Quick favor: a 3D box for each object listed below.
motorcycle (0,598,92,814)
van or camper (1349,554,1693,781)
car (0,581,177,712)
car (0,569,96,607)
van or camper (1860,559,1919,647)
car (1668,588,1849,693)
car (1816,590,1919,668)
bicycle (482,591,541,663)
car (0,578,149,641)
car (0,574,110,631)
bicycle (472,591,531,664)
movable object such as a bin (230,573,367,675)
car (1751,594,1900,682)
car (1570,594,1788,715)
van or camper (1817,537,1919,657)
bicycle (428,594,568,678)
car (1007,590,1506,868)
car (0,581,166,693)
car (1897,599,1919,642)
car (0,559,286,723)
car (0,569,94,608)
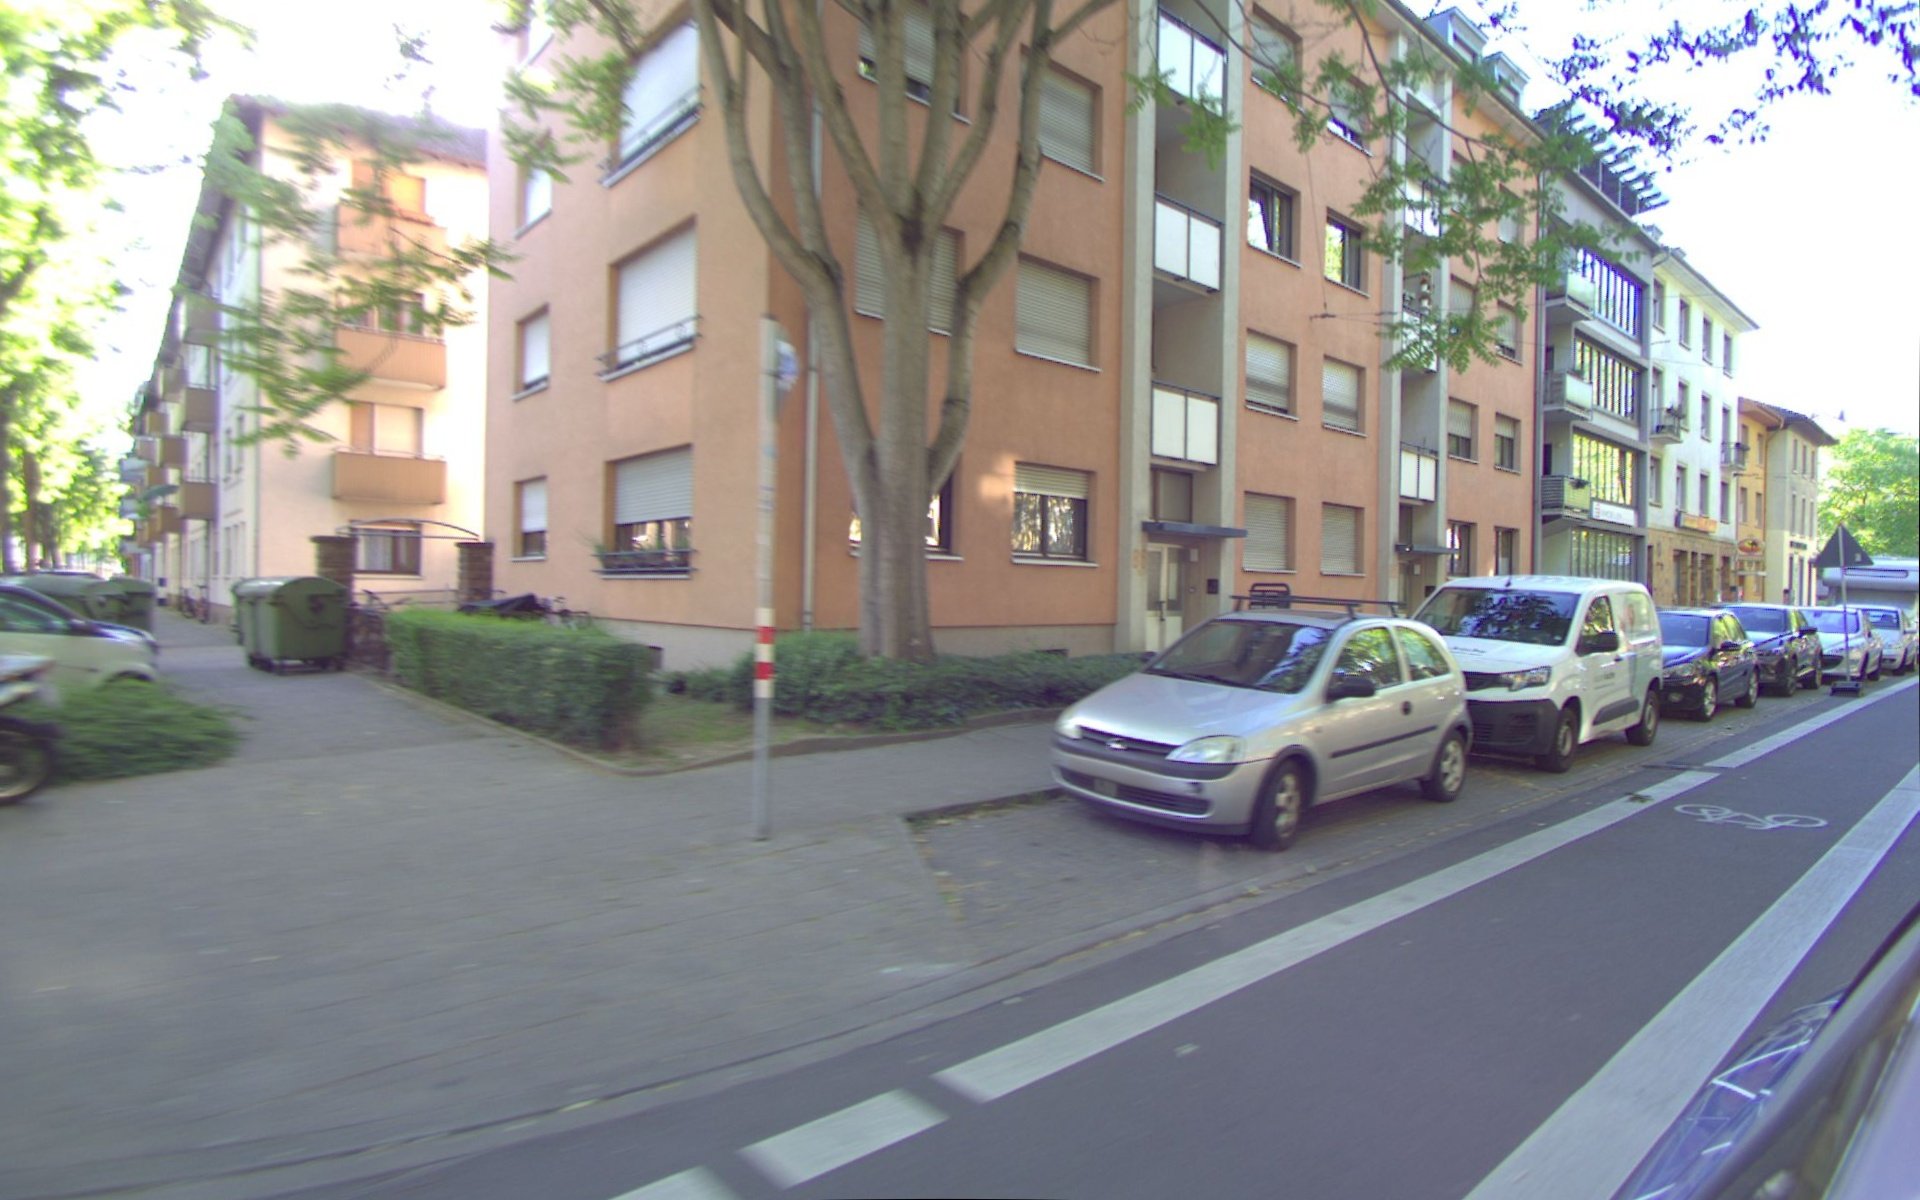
[{"bbox_3d":[-6.715,0.661,6.078,2.215,1.314,0.680,-1,1,-35],"label":"motorcycle"},{"bbox_3d":[6.082,0.543,10.685,4.748,1.887,1.757,0,1,-43],"label":"van or camper"},{"bbox_3d":[-11.670,0.520,11.673,1.704,1.479,3.923,1,1,18],"label":"car"},{"bbox_3d":[-43.627,-0.553,48.205,3.720,1.740,1.662,-1,0,-41],"label":"car"},{"bbox_3d":[31.376,0.102,33.199,4.893,2.696,2.136,0,2,-42],"label":"van or camper"},{"bbox_3d":[14.312,0.630,18.051,4.262,1.591,1.771,0,3,-42],"label":"car"},{"bbox_3d":[22.241,0.630,24.436,4.202,1.648,1.796,0,2,-42],"label":"car"},{"bbox_3d":[-7.699,0.446,17.344,0.442,1.180,1.773,0,0,-40],"label":"bicycle"},{"bbox_3d":[-22.059,0.214,24.531,3.720,1.459,1.662,-1,0,-41],"label":"car"},{"bbox_3d":[-24.915,0.072,26.779,3.720,1.459,1.662,-1,0,-41],"label":"car"},{"bbox_3d":[-7.825,0.445,17.235,0.442,1.185,1.773,0,0,-40],"label":"bicycle"},{"bbox_3d":[-10.448,0.311,15.936,1.355,1.436,2.542,-2,2,-43],"label":"movable object such as a bin"},{"bbox_3d":[17.805,0.696,20.758,4.249,1.540,1.791,0,3,-43],"label":"car"},{"bbox_3d":[10.571,0.691,14.777,4.096,1.491,1.708,0,1,-42],"label":"car"},{"bbox_3d":[26.683,-0.107,28.945,6.161,3.102,2.466,0,2,-43],"label":"van or camper"},{"bbox_3d":[-6.538,0.480,14.380,1.745,1.113,0.513,-1,0,-41],"label":"bicycle"},{"bbox_3d":[2.354,0.699,7.477,3.931,1.491,1.708,0,1,-42],"label":"car"},{"bbox_3d":[-13.502,0.481,13.836,1.645,1.479,3.921,1,1,19],"label":"car"},{"bbox_3d":[36.444,0.785,37.485,4.657,1.512,1.998,0,3,-41],"label":"car"},{"bbox_3d":[-9.644,0.372,10.748,1.704,1.560,3.977,1,1,18],"label":"car"},{"bbox_3d":[-46.302,-0.576,51.214,3.720,1.939,1.662,-1,0,-41],"label":"car"}]
